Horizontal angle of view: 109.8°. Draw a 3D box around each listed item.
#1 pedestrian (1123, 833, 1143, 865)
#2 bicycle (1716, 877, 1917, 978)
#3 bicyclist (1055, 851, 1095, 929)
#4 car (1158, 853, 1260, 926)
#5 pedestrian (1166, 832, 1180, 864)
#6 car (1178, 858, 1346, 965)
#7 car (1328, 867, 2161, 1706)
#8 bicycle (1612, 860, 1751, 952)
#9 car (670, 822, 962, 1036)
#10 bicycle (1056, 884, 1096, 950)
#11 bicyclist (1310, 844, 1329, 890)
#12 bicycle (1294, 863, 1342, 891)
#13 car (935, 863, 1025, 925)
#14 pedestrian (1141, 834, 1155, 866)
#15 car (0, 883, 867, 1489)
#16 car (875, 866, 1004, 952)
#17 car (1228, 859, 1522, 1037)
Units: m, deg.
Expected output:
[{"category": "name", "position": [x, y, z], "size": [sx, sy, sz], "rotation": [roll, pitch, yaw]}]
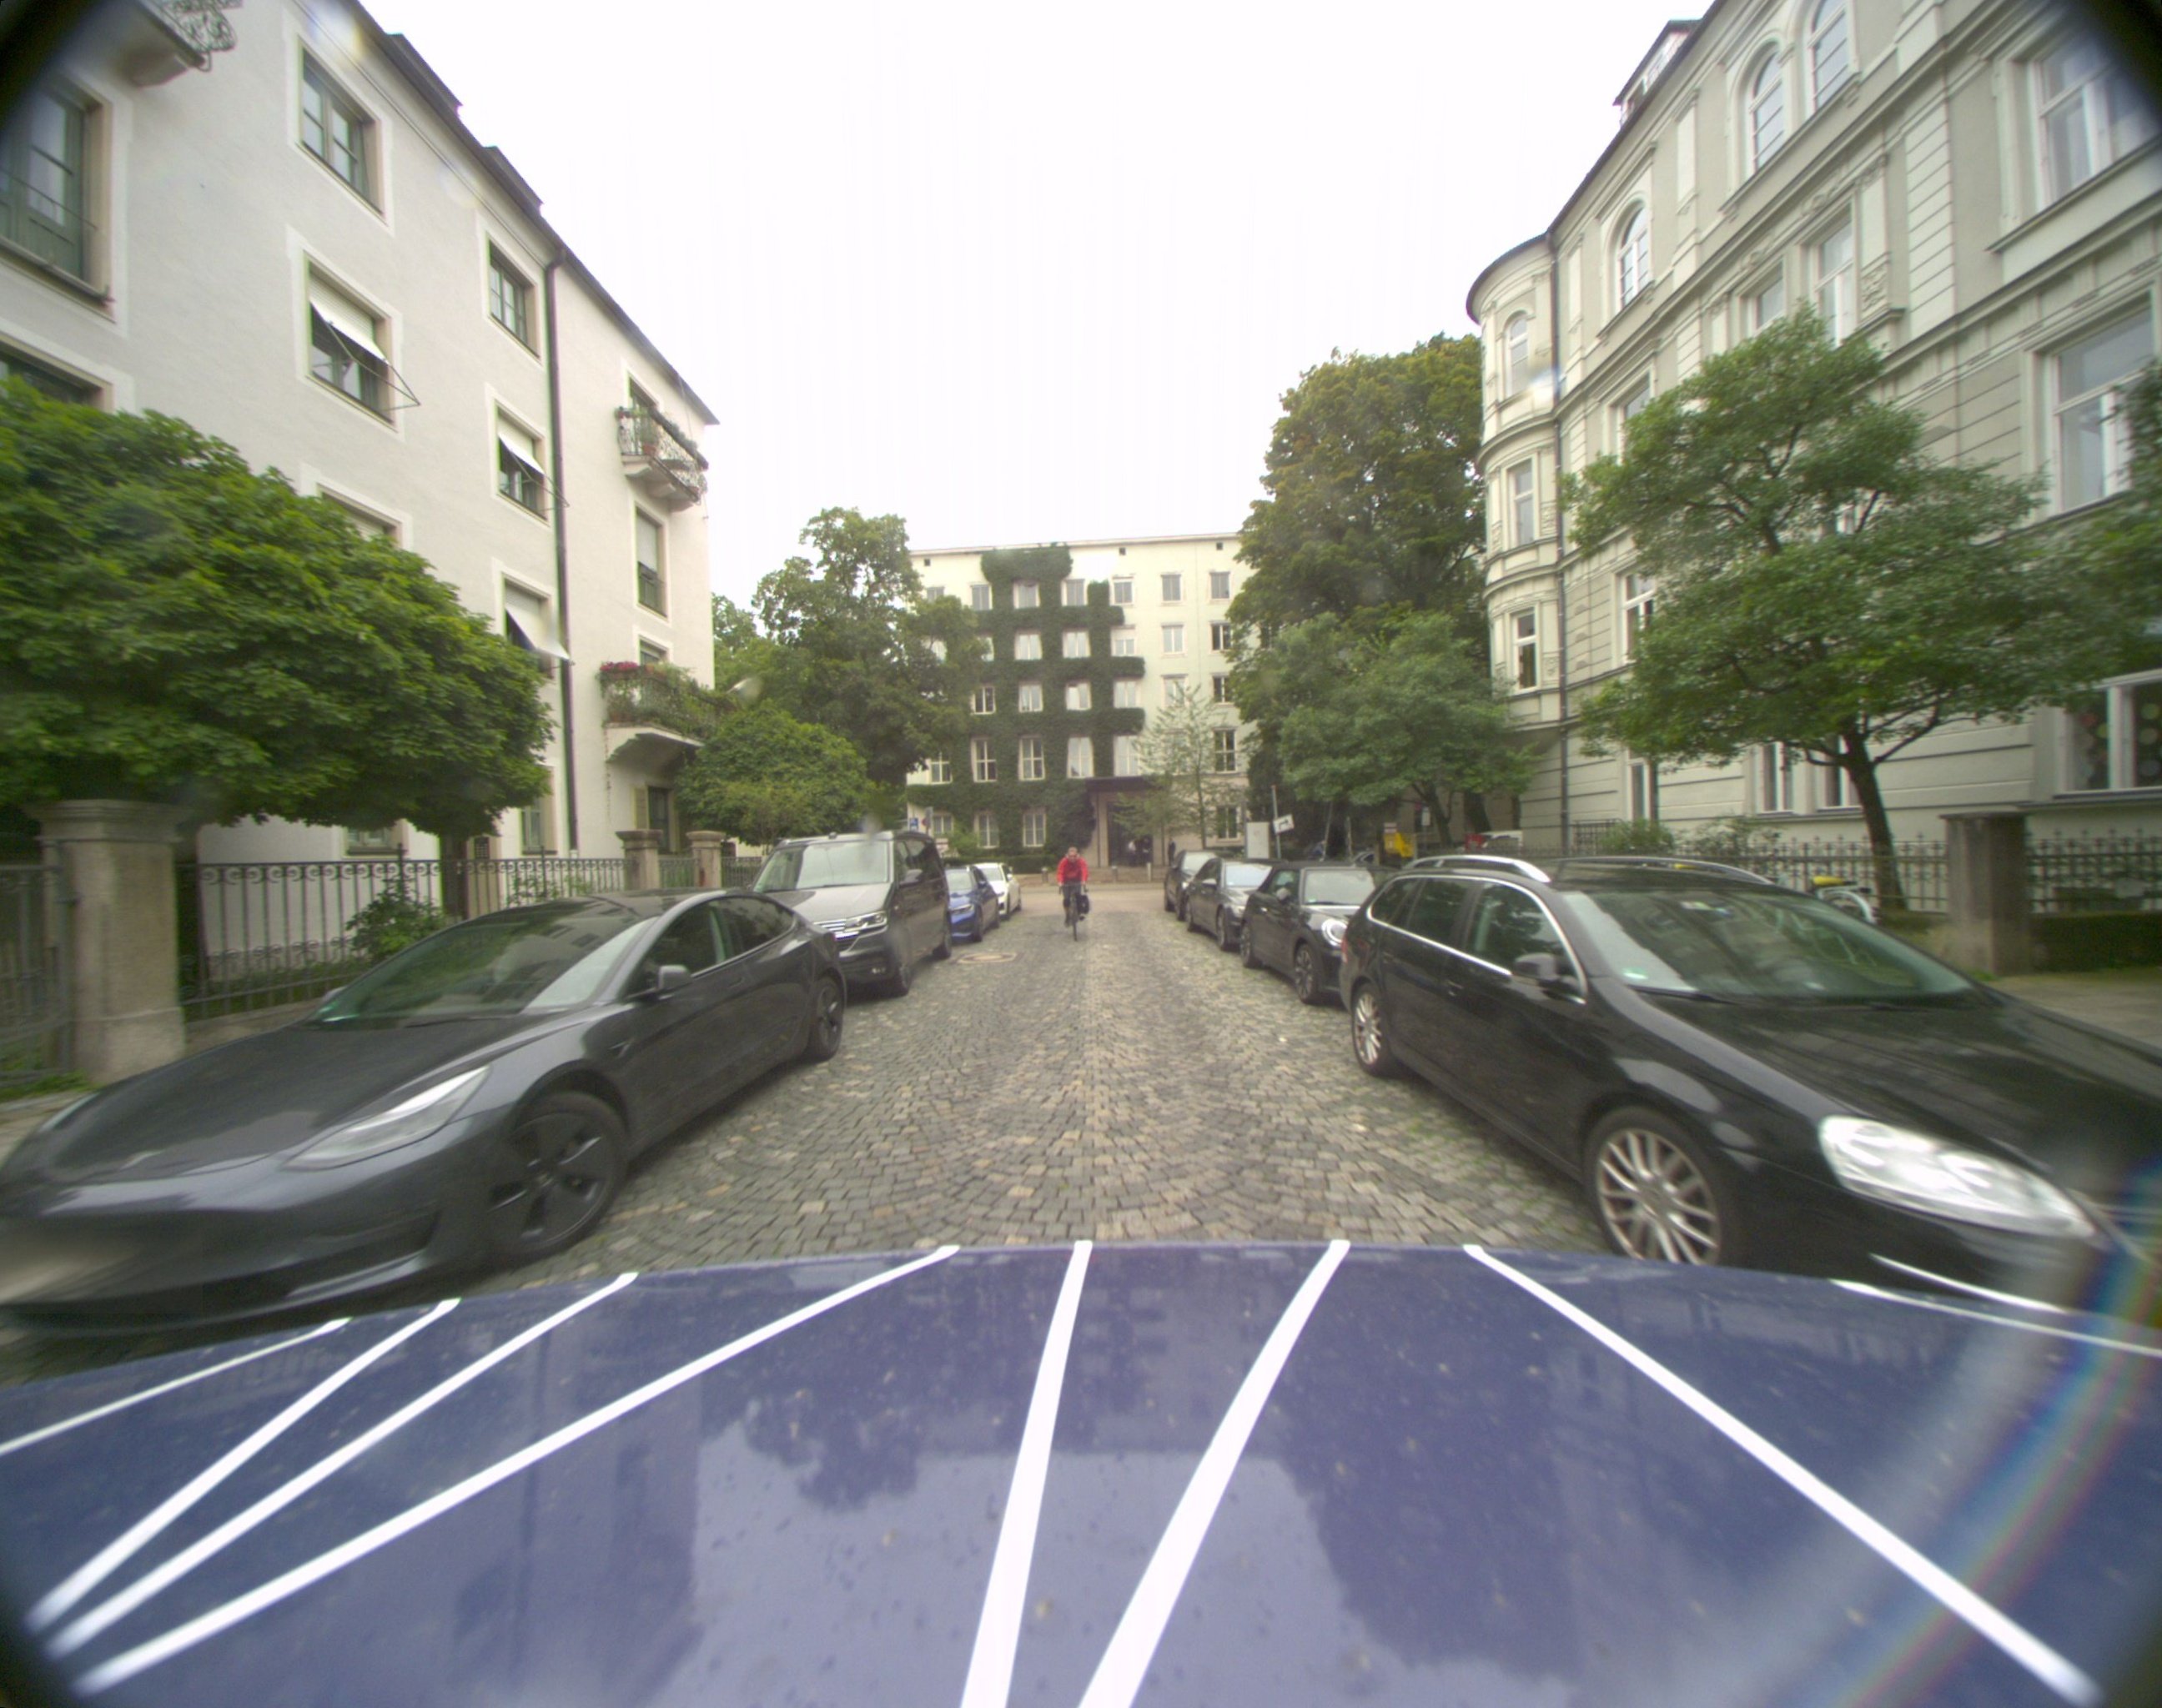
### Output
[{"category": "pedestrian", "position": [3.196, -0.275, 46.701], "size": [0.703, 1.905, 0.861], "rotation": [-4, 1, -30]}, {"category": "bicycle", "position": [7.901, 0.740, 8.283], "size": [0.439, 0.868, 1.790], "rotation": [-5, 1, 1]}, {"category": "bicyclist", "position": [-0.104, 0.639, 13.836], "size": [0.648, 1.350, 0.656], "rotation": [-3, 1, 0]}, {"category": "car", "position": [3.015, 0.771, 18.720], "size": [1.744, 1.572, 4.281], "rotation": [-1, 0, 0]}, {"category": "pedestrian", "position": [5.646, -0.366, 46.653], "size": [0.665, 1.905, 0.863], "rotation": [-4, 1, 9]}, {"category": "car", "position": [2.931, 0.853, 13.281], "size": [1.744, 1.490, 4.280], "rotation": [-1, 0, -2]}, {"category": "car", "position": [2.738, 0.874, 3.679], "size": [1.814, 1.490, 4.510], "rotation": [-1, 0, 3]}, {"category": "bicycle", "position": [7.894, 0.635, 10.079], "size": [0.464, 1.045, 1.695], "rotation": [-5, 1, 1]}, {"category": "car", "position": [-3.007, 0.721, 10.007], "size": [1.999, 1.958, 4.965], "rotation": [-5, 1, -1]}, {"category": "bicycle", "position": [-0.079, 1.122, 14.069], "size": [0.636, 1.021, 1.955], "rotation": [-3, 1, 0]}, {"category": "bicyclist", "position": [8.722, 0.467, 27.797], "size": [0.544, 1.681, 0.445], "rotation": [-1, 1, 1]}, {"category": "bicycle", "position": [8.674, 0.853, 27.810], "size": [1.646, 0.998, 0.427], "rotation": [0, 1, 1]}, {"category": "car", "position": [-2.568, 0.979, 20.234], "size": [1.744, 1.367, 4.281], "rotation": [-1, 0, 1]}, {"category": "pedestrian", "position": [4.114, -0.253, 46.742], "size": [0.701, 1.905, 0.863], "rotation": [-4, 1, 4]}, {"category": "car", "position": [-2.994, 1.055, 4.405], "size": [1.942, 1.457, 4.532], "rotation": [-4, 0, 3]}, {"category": "car", "position": [-2.647, 0.988, 15.167], "size": [1.744, 1.367, 4.182], "rotation": [-1, 0, 1]}, {"category": "car", "position": [3.004, 0.846, 8.781], "size": [1.744, 1.490, 4.133], "rotation": [-1, 0, -1]}]
